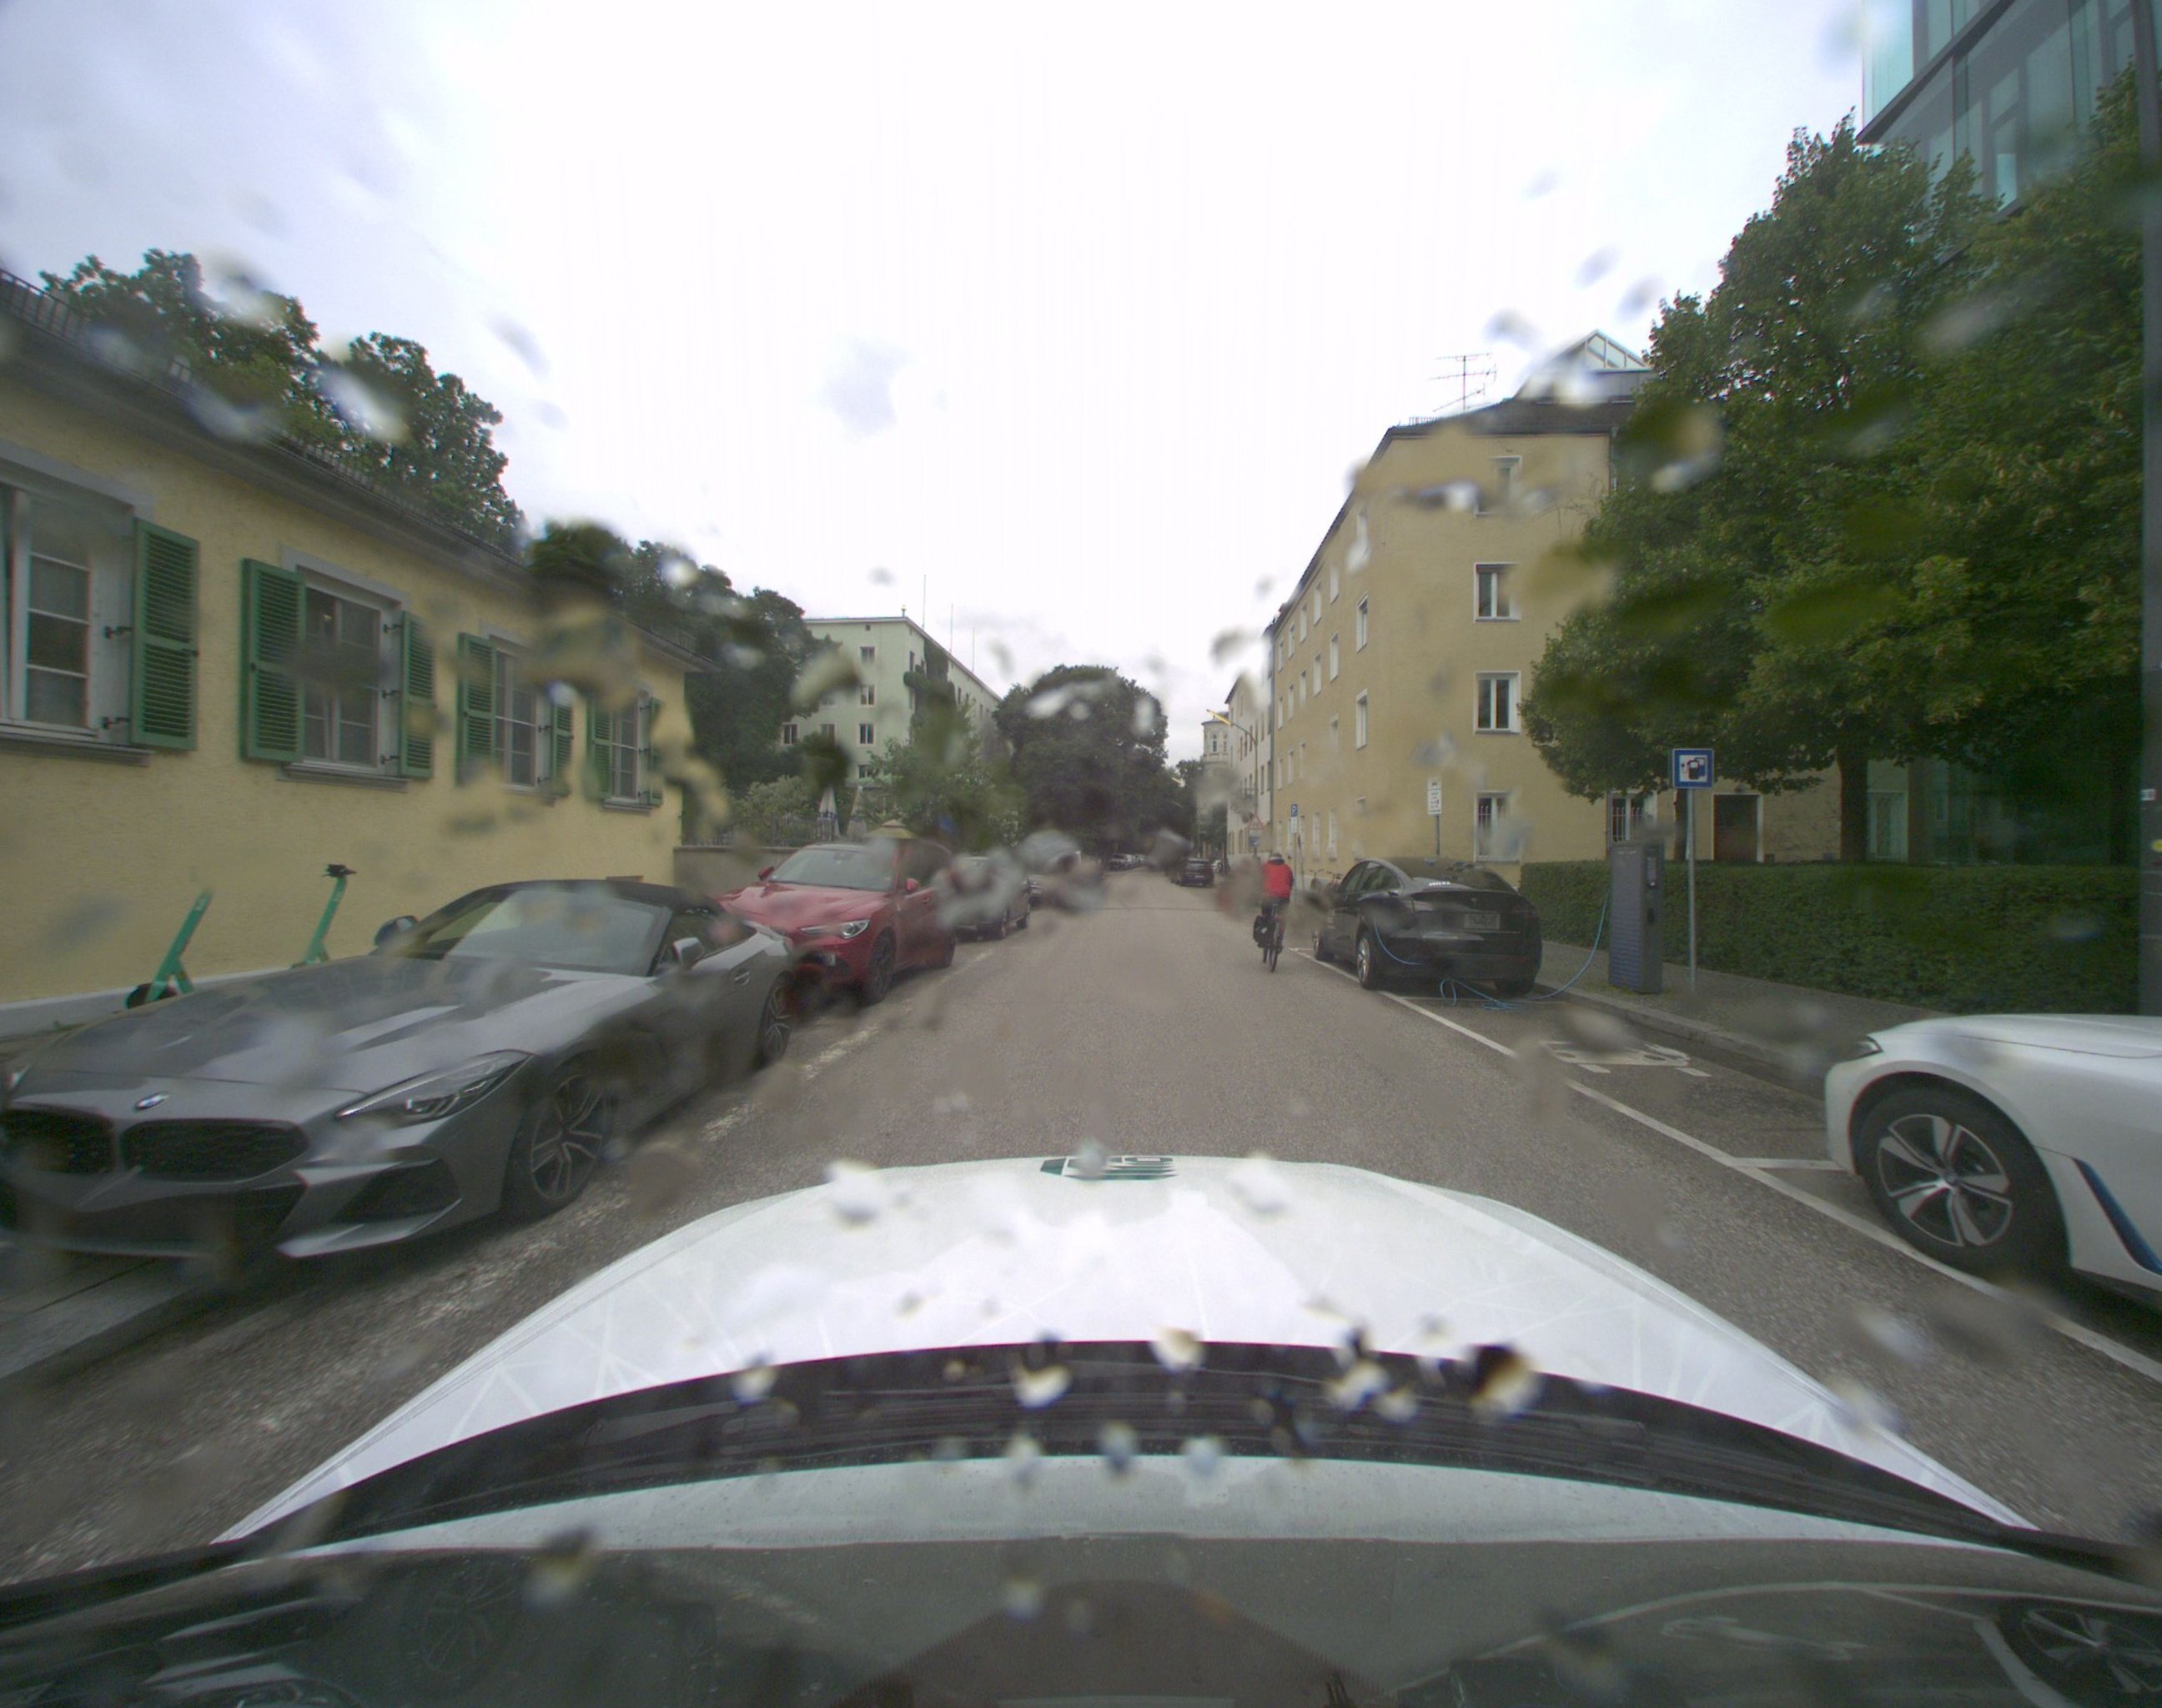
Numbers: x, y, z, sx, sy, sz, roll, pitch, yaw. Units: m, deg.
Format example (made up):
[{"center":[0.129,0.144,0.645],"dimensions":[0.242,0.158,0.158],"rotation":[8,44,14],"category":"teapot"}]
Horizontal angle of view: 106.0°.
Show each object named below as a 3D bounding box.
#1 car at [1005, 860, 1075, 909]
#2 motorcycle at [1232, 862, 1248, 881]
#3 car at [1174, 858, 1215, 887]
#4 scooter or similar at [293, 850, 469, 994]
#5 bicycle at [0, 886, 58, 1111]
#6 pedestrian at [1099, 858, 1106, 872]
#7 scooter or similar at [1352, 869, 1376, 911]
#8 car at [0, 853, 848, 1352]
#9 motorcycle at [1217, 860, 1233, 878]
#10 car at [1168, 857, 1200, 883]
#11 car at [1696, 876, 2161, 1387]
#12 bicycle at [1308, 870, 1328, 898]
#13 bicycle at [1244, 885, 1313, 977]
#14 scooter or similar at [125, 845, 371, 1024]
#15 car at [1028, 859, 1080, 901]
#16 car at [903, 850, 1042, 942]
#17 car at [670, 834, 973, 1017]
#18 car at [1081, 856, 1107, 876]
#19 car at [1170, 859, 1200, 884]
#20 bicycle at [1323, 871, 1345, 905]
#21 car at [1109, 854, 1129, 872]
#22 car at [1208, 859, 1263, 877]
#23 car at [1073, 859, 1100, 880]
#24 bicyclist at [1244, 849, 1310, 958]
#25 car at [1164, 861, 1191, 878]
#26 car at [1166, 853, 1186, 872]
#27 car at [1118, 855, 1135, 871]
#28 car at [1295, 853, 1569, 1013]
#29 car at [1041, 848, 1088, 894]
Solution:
[{"center":[-1.324,0.998,28.060],"dimensions":[1.850,1.544,4.193],"rotation":[-1,-1,5],"category":"car"},{"center":[10.801,1.199,55.358],"dimensions":[0.729,1.239,2.009],"rotation":[2,-1,3],"category":"motorcycle"},{"center":[6.610,1.051,47.898],"dimensions":[1.853,1.577,4.901],"rotation":[0,0,1],"category":"car"},{"center":[-6.889,0.627,8.077],"dimensions":[0.360,1.314,1.261],"rotation":[1,0,27],"category":"scooter or similar"},{"center":[-6.354,0.742,4.168],"dimensions":[1.483,1.149,0.643],"rotation":[1,0,5],"category":"bicycle"},{"center":[2.464,1.262,94.893],"dimensions":[0.711,1.548,0.753],"rotation":[3,-1,1],"category":"pedestrian"},{"center":[8.803,1.114,25.350],"dimensions":[0.340,1.255,1.310],"rotation":[-1,-1,3],"category":"scooter or similar"},{"center":[-3.082,0.799,4.919],"dimensions":[1.890,1.519,4.655],"rotation":[2,0,1],"category":"car"},{"center":[11.345,1.162,64.142],"dimensions":[0.853,1.433,2.708],"rotation":[1,0,3],"category":"motorcycle"},{"center":[7.392,1.107,58.621],"dimensions":[1.984,1.707,4.539],"rotation":[3,0,4],"category":"car"},{"center":[4.181,0.870,1.776],"dimensions":[1.986,1.460,4.958],"rotation":[2,0,1],"category":"car"},{"center":[9.595,1.207,32.970],"dimensions":[0.340,1.082,1.815],"rotation":[-2,-1,3],"category":"bicycle"},{"center":[2.816,1.052,11.807],"dimensions":[0.669,1.141,2.014],"rotation":[2,-1,6],"category":"bicycle"},{"center":[-6.870,0.610,6.792],"dimensions":[0.371,1.343,1.361],"rotation":[0,0,30],"category":"scooter or similar"},{"center":[-1.023,0.997,33.146],"dimensions":[1.881,1.544,4.696],"rotation":[1,0,1],"category":"car"},{"center":[-2.097,0.782,17.204],"dimensions":[1.836,1.607,4.749],"rotation":[2,0,5],"category":"car"},{"center":[-2.854,0.706,10.313],"dimensions":[1.893,1.692,4.814],"rotation":[2,0,4],"category":"car"},{"center":[1.141,1.021,69.606],"dimensions":[1.879,1.590,4.532],"rotation":[2,0,4],"category":"car"},{"center":[6.761,1.124,53.341],"dimensions":[1.830,1.531,4.422],"rotation":[0,0,5],"category":"car"},{"center":[9.045,1.196,29.129],"dimensions":[0.340,1.135,1.760],"rotation":[0,0,3],"category":"bicycle"},{"center":[4.601,1.056,97.626],"dimensions":[2.238,1.956,5.459],"rotation":[2,0,4],"category":"car"},{"center":[14.461,1.300,76.392],"dimensions":[4.884,1.531,1.915],"rotation":[0,2,3],"category":"car"},{"center":[0.461,1.099,59.882],"dimensions":[1.800,1.402,4.925],"rotation":[2,0,1],"category":"car"},{"center":[2.798,0.685,11.710],"dimensions":[0.751,1.483,0.983],"rotation":[2,-1,5],"category":"bicyclist"},{"center":[8.015,1.246,68.110],"dimensions":[1.991,1.319,4.600],"rotation":[-2,-1,4],"category":"car"},{"center":[11.339,0.980,97.076],"dimensions":[2.193,2.208,4.861],"rotation":[-1,-1,5],"category":"car"},{"center":[6.163,1.205,109.268],"dimensions":[2.174,1.956,5.172],"rotation":[2,0,4],"category":"car"},{"center":[4.435,0.862,11.320],"dimensions":[1.984,1.631,5.107],"rotation":[2,0,5],"category":"car"},{"center":[-0.714,0.791,39.119],"dimensions":[1.959,1.990,5.153],"rotation":[2,0,1],"category":"car"}]
